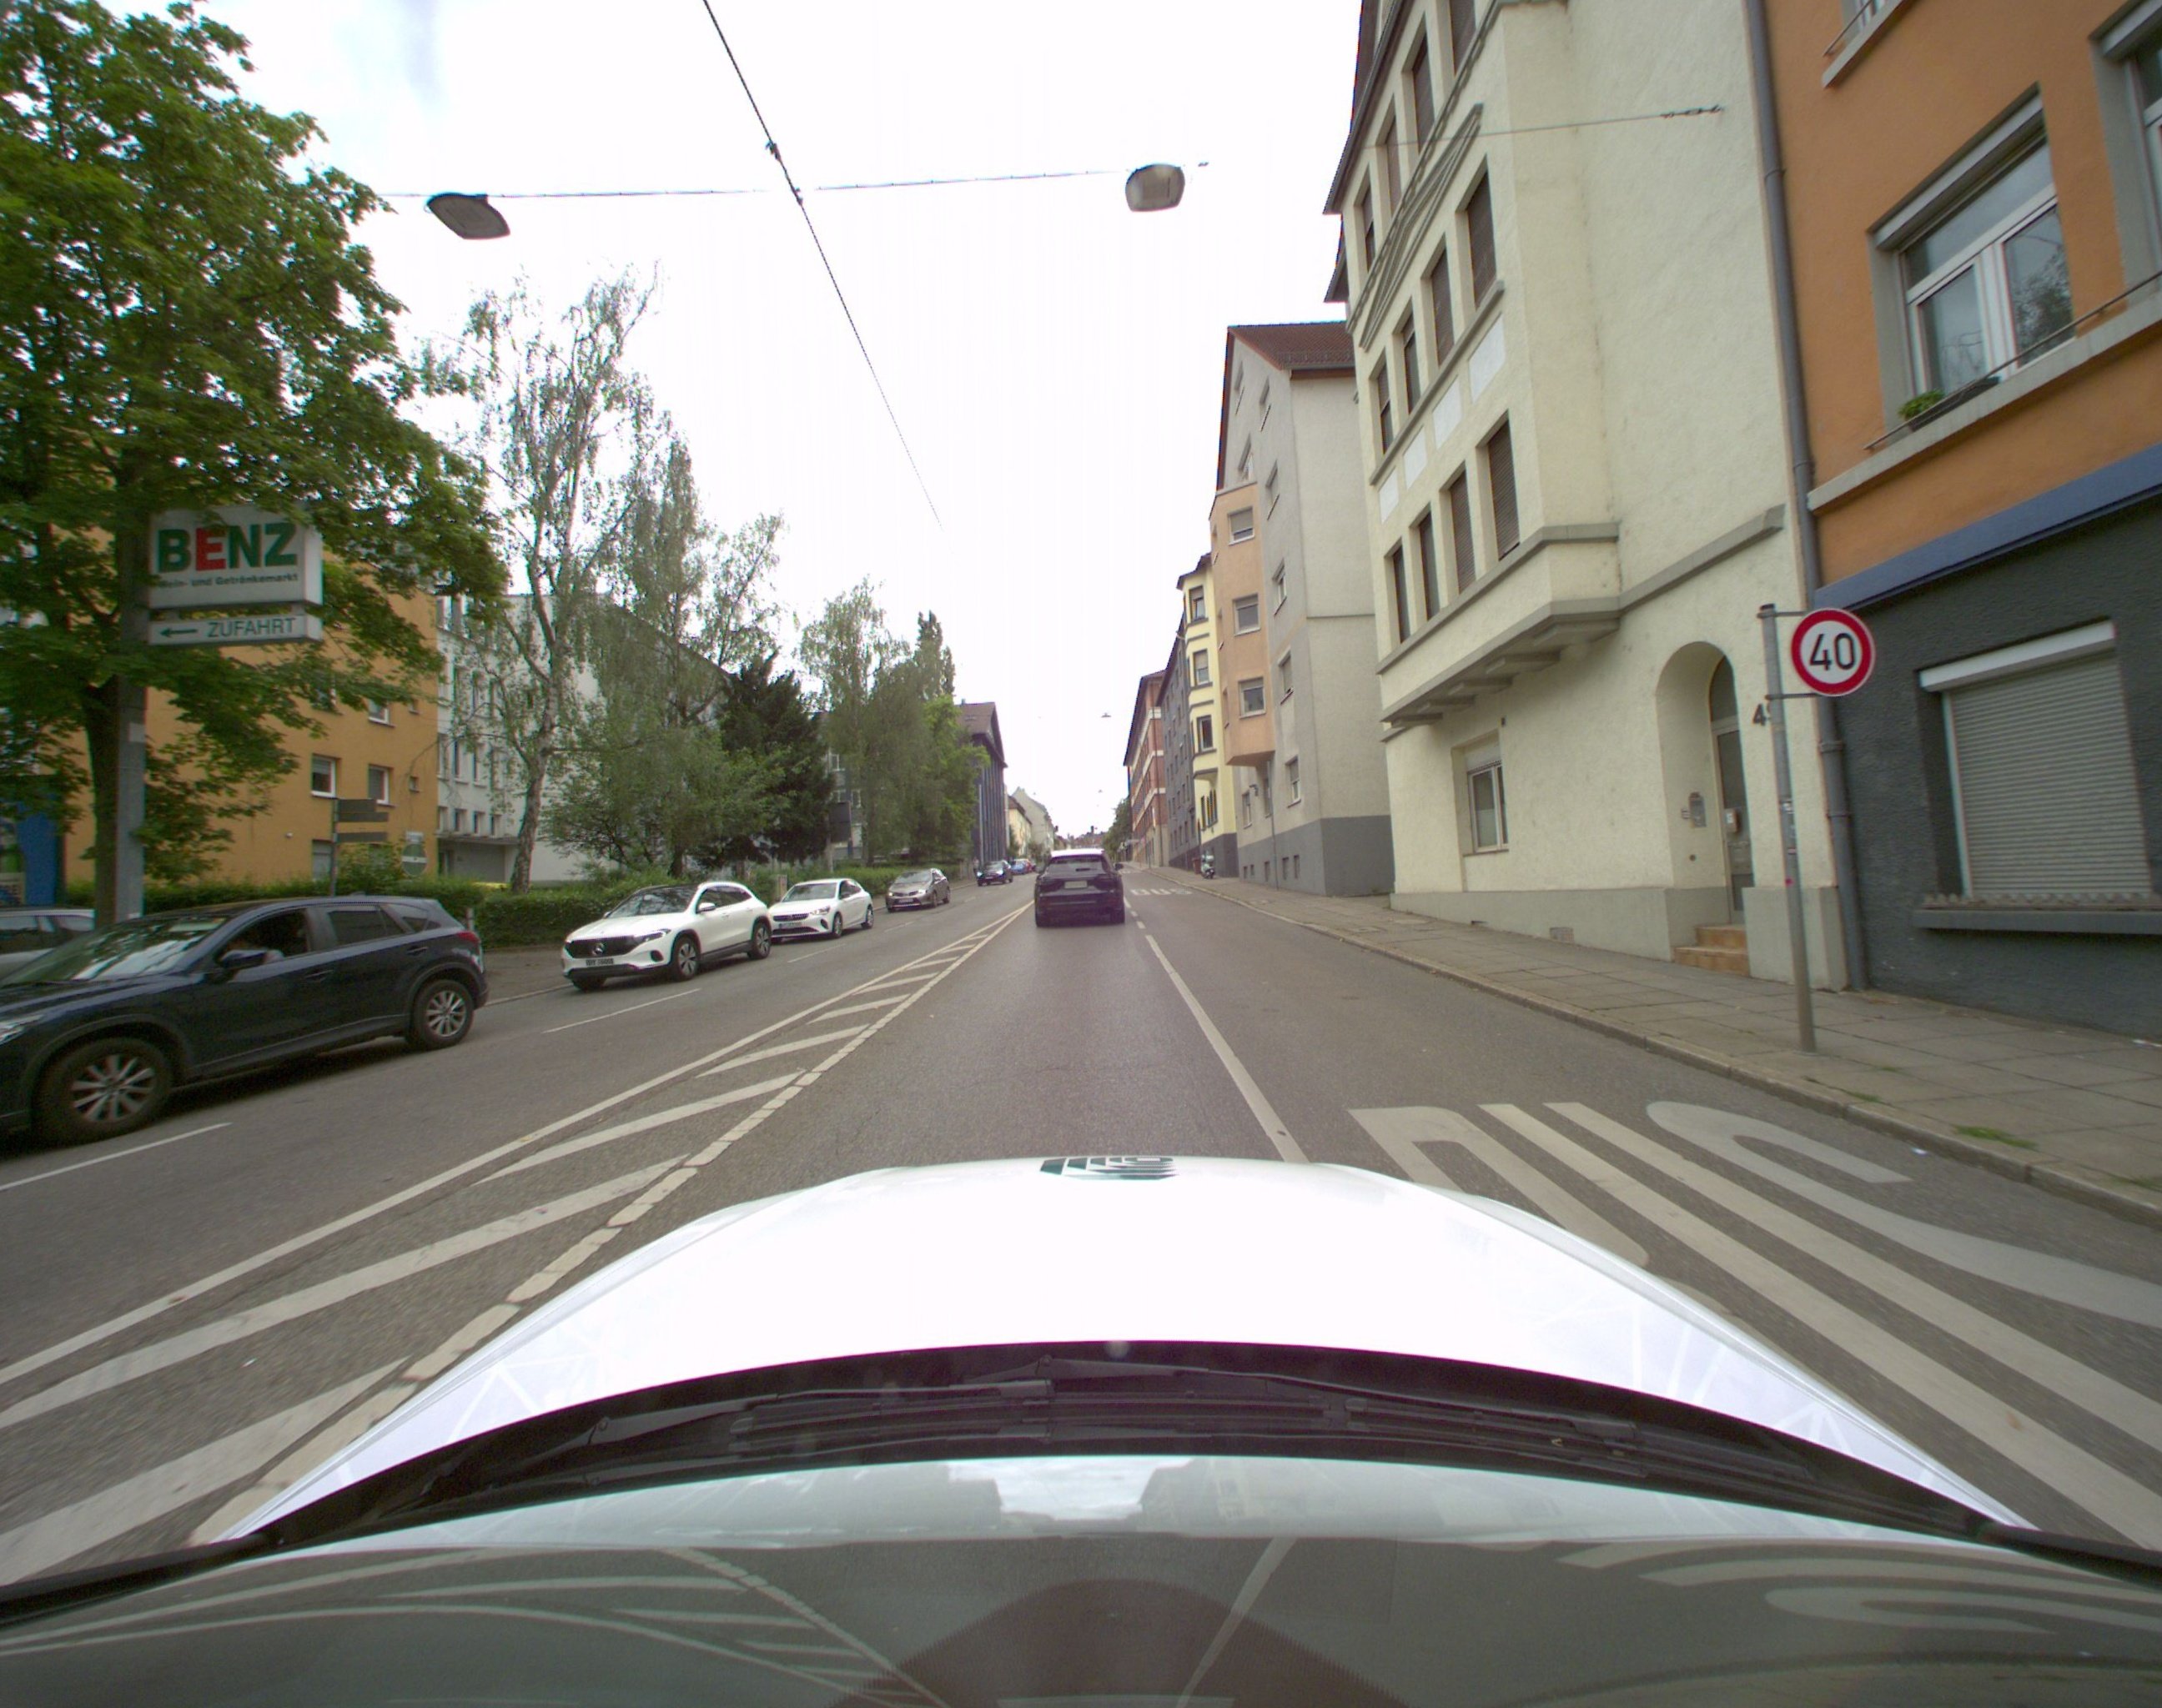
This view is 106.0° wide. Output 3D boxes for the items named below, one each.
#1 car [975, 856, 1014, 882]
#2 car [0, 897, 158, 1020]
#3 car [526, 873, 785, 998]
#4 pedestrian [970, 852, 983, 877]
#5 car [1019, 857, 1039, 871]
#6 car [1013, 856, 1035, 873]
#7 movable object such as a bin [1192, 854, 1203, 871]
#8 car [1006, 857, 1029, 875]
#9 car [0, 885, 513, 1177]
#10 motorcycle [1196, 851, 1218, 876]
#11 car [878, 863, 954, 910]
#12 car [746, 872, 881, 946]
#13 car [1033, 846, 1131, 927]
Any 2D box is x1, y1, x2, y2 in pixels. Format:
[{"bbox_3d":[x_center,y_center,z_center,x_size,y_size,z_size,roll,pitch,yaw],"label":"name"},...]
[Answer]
[{"bbox_3d":[-5.443,0.931,51.770,1.832,1.448,4.312,-5,0,1],"label":"car"},{"bbox_3d":[-14.826,1.400,10.301,1.701,1.501,4.000,0,0,1],"label":"car"},{"bbox_3d":[-7.305,1.295,14.657,1.943,1.593,4.502,-6,0,3],"label":"car"},{"bbox_3d":[-8.354,0.823,64.902,0.879,1.950,0.867,-1,0,0],"label":"pedestrian"},{"bbox_3d":[-5.733,1.077,89.941,1.708,1.341,3.905,-5,0,1],"label":"car"},{"bbox_3d":[-5.872,1.054,84.029,1.708,1.456,3.991,-5,0,2],"label":"car"},{"bbox_3d":[6.695,0.478,46.691,0.473,0.892,0.517,-6,0,0],"label":"movable object such as a bin"},{"bbox_3d":[-6.097,1.136,78.050,1.708,1.423,3.990,-5,0,1],"label":"car"},{"bbox_3d":[-7.643,1.279,7.081,1.943,1.642,4.418,-6,0,4],"label":"car"},{"bbox_3d":[6.174,0.447,39.984,0.536,1.155,2.225,-6,0,-2],"label":"motorcycle"},{"bbox_3d":[-6.173,1.170,30.988,1.832,1.448,4.312,-5,0,1],"label":"car"},{"bbox_3d":[-6.681,1.320,20.838,1.832,1.412,4.076,-6,0,2],"label":"car"},{"bbox_3d":[-0.082,0.689,19.286,2.019,1.641,4.351,-1,0,-3],"label":"car"}]
